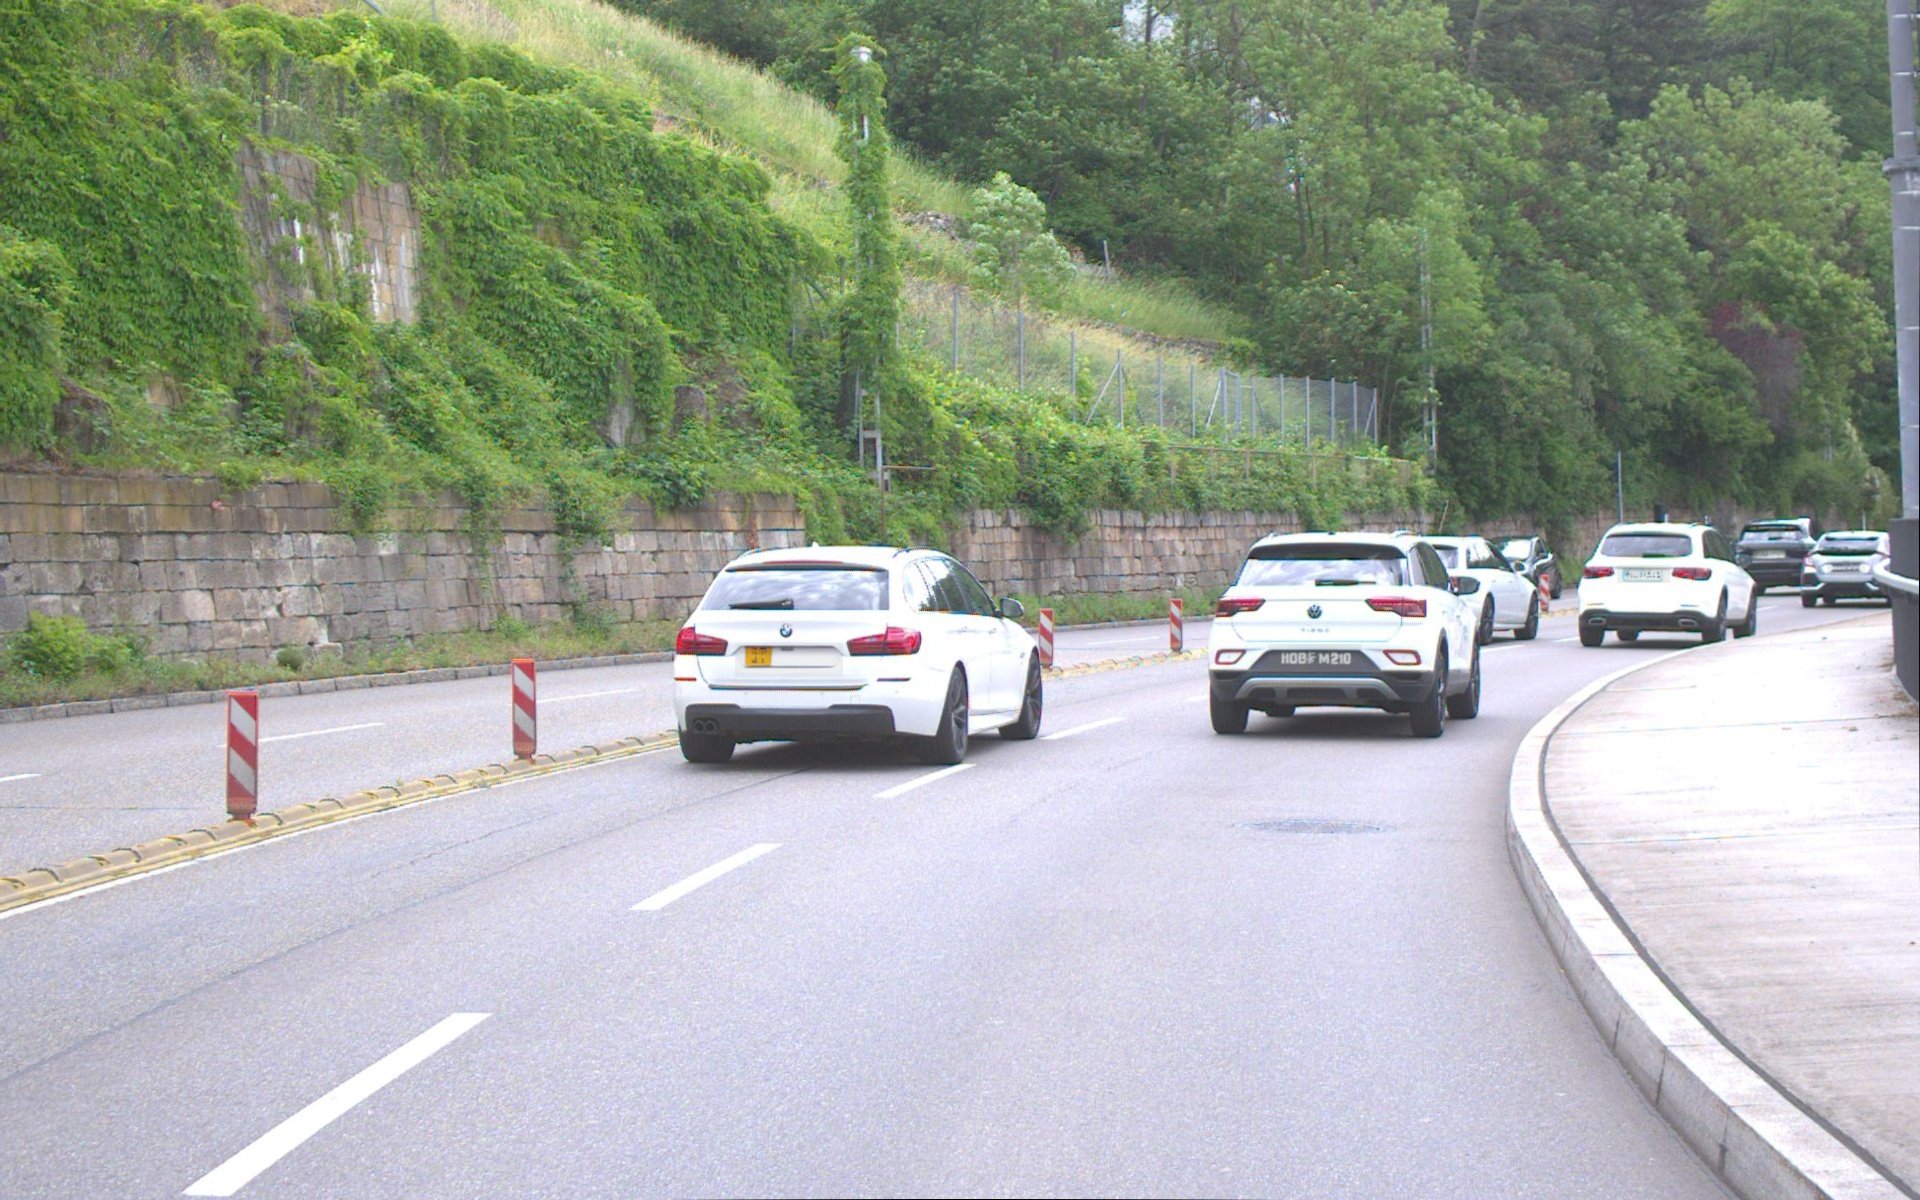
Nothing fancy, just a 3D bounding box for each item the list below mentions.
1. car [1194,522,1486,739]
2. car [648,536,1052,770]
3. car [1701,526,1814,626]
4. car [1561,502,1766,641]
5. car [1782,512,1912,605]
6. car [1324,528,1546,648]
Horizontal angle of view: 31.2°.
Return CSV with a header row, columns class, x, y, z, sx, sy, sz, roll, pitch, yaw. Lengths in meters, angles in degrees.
class,x,y,z,sx,sy,sz,roll,pitch,yaw
car,3.113,0.191,27.525,1.829,1.600,3.998,0,1,14
car,-0.652,0.290,24.089,1.829,1.454,4.484,1,1,12
car,17.332,-0.541,74.628,1.995,2.007,3.997,-3,0,17
car,9.492,-0.379,46.177,1.995,1.712,4.109,-2,0,21
car,16.836,-0.788,65.170,1.995,1.711,3.996,0,1,20
car,6.559,-0.211,47.041,1.996,1.498,4.663,1,2,21
